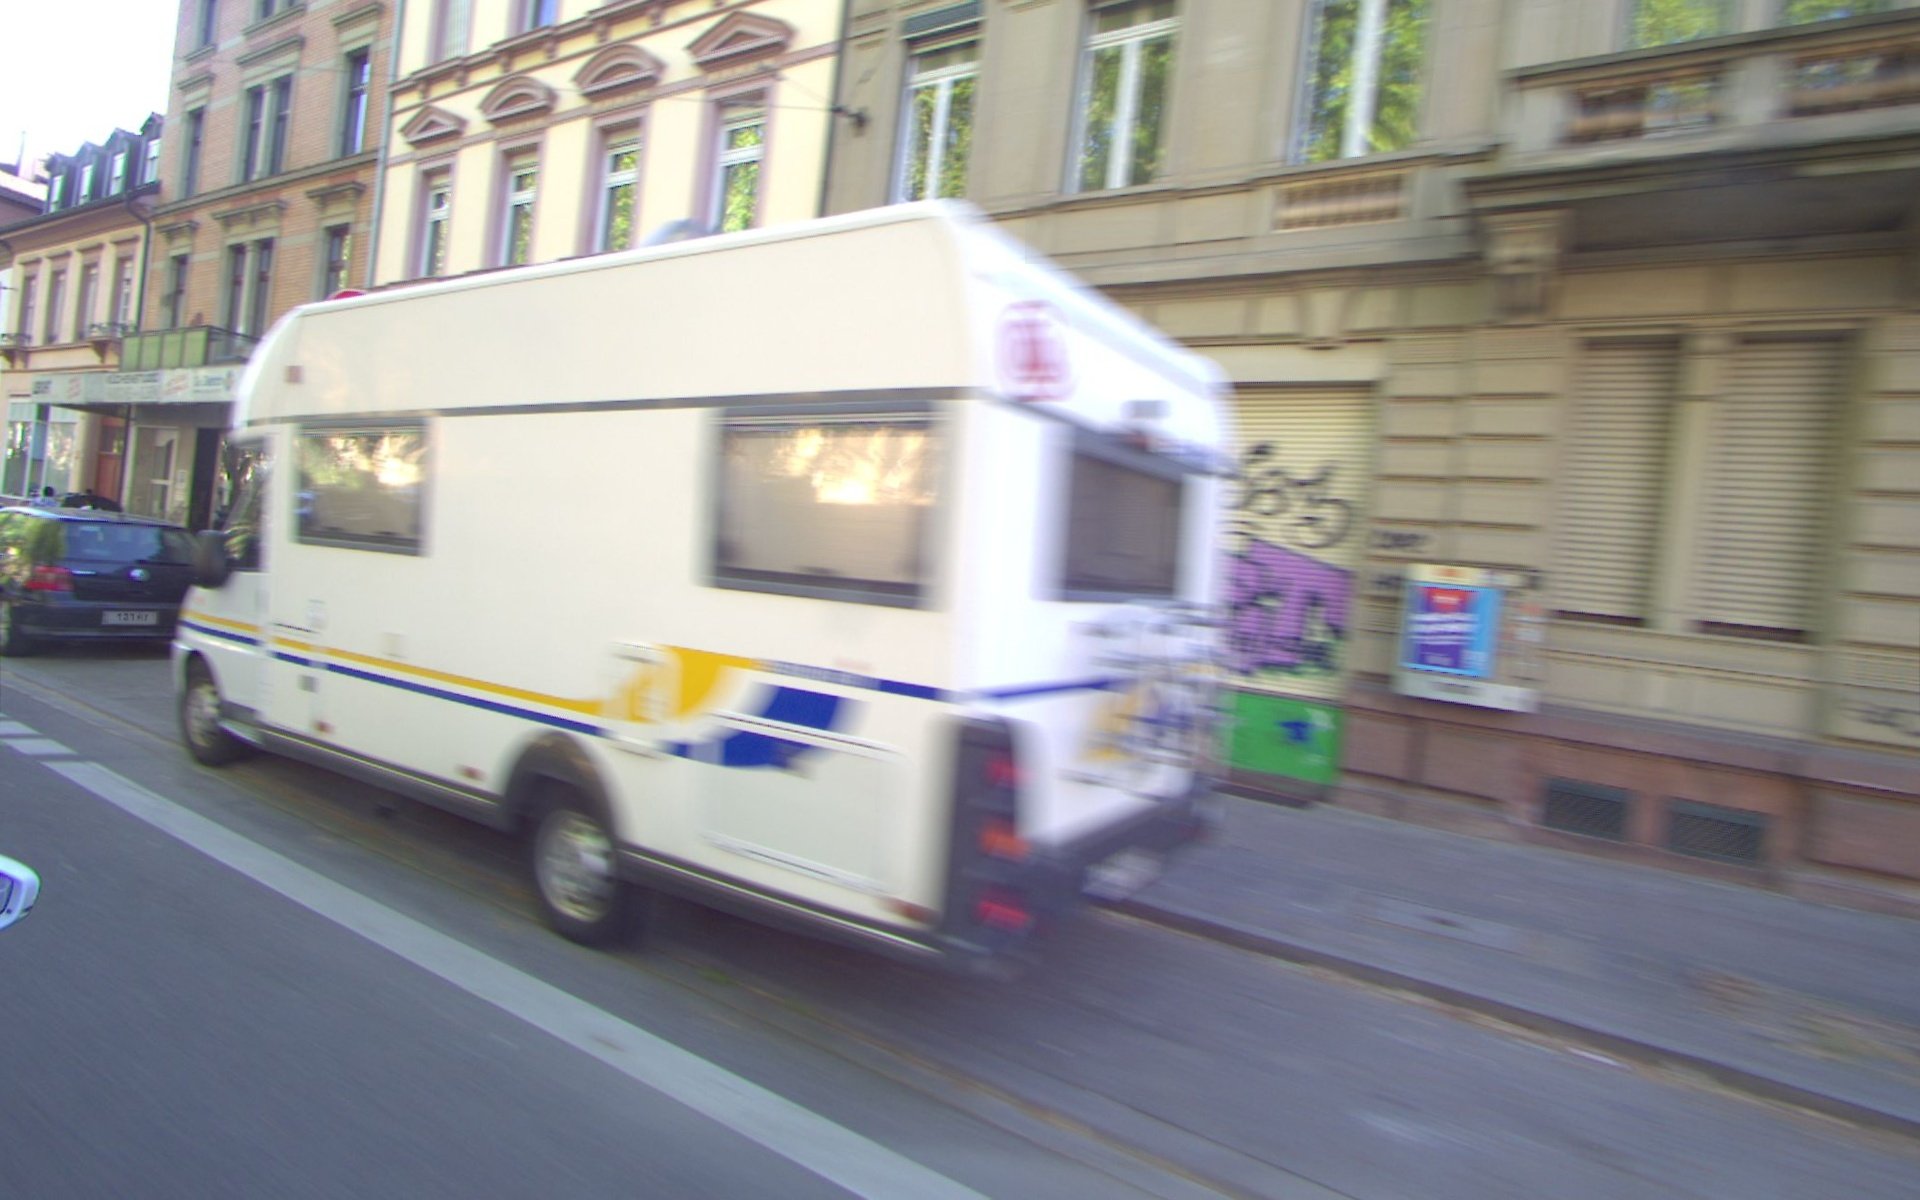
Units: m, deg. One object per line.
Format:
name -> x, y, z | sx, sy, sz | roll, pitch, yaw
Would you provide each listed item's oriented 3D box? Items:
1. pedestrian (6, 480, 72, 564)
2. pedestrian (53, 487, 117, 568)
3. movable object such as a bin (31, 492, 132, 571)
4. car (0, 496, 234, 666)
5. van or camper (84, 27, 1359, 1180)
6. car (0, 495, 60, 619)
pedestrian -> -18.029, -1.526, 19.693 | 0.852, 1.524, 0.660 | 7, 1, 32
pedestrian -> -17.650, -1.452, 20.288 | 0.772, 1.501, 0.658 | 7, 0, 32
movable object such as a bin -> -19.854, -1.548, 22.740 | 1.265, 1.538, 1.295 | 7, -1, 33
car -> -9.455, -0.294, 10.608 | 3.965, 1.453, 1.644 | 6, 3, 34
van or camper -> -2.167, -0.260, 5.835 | 7.758, 3.012, 2.476 | 6, 3, 34
car -> -13.600, -0.753, 12.920 | 4.589, 1.453, 1.811 | 6, 0, 33
